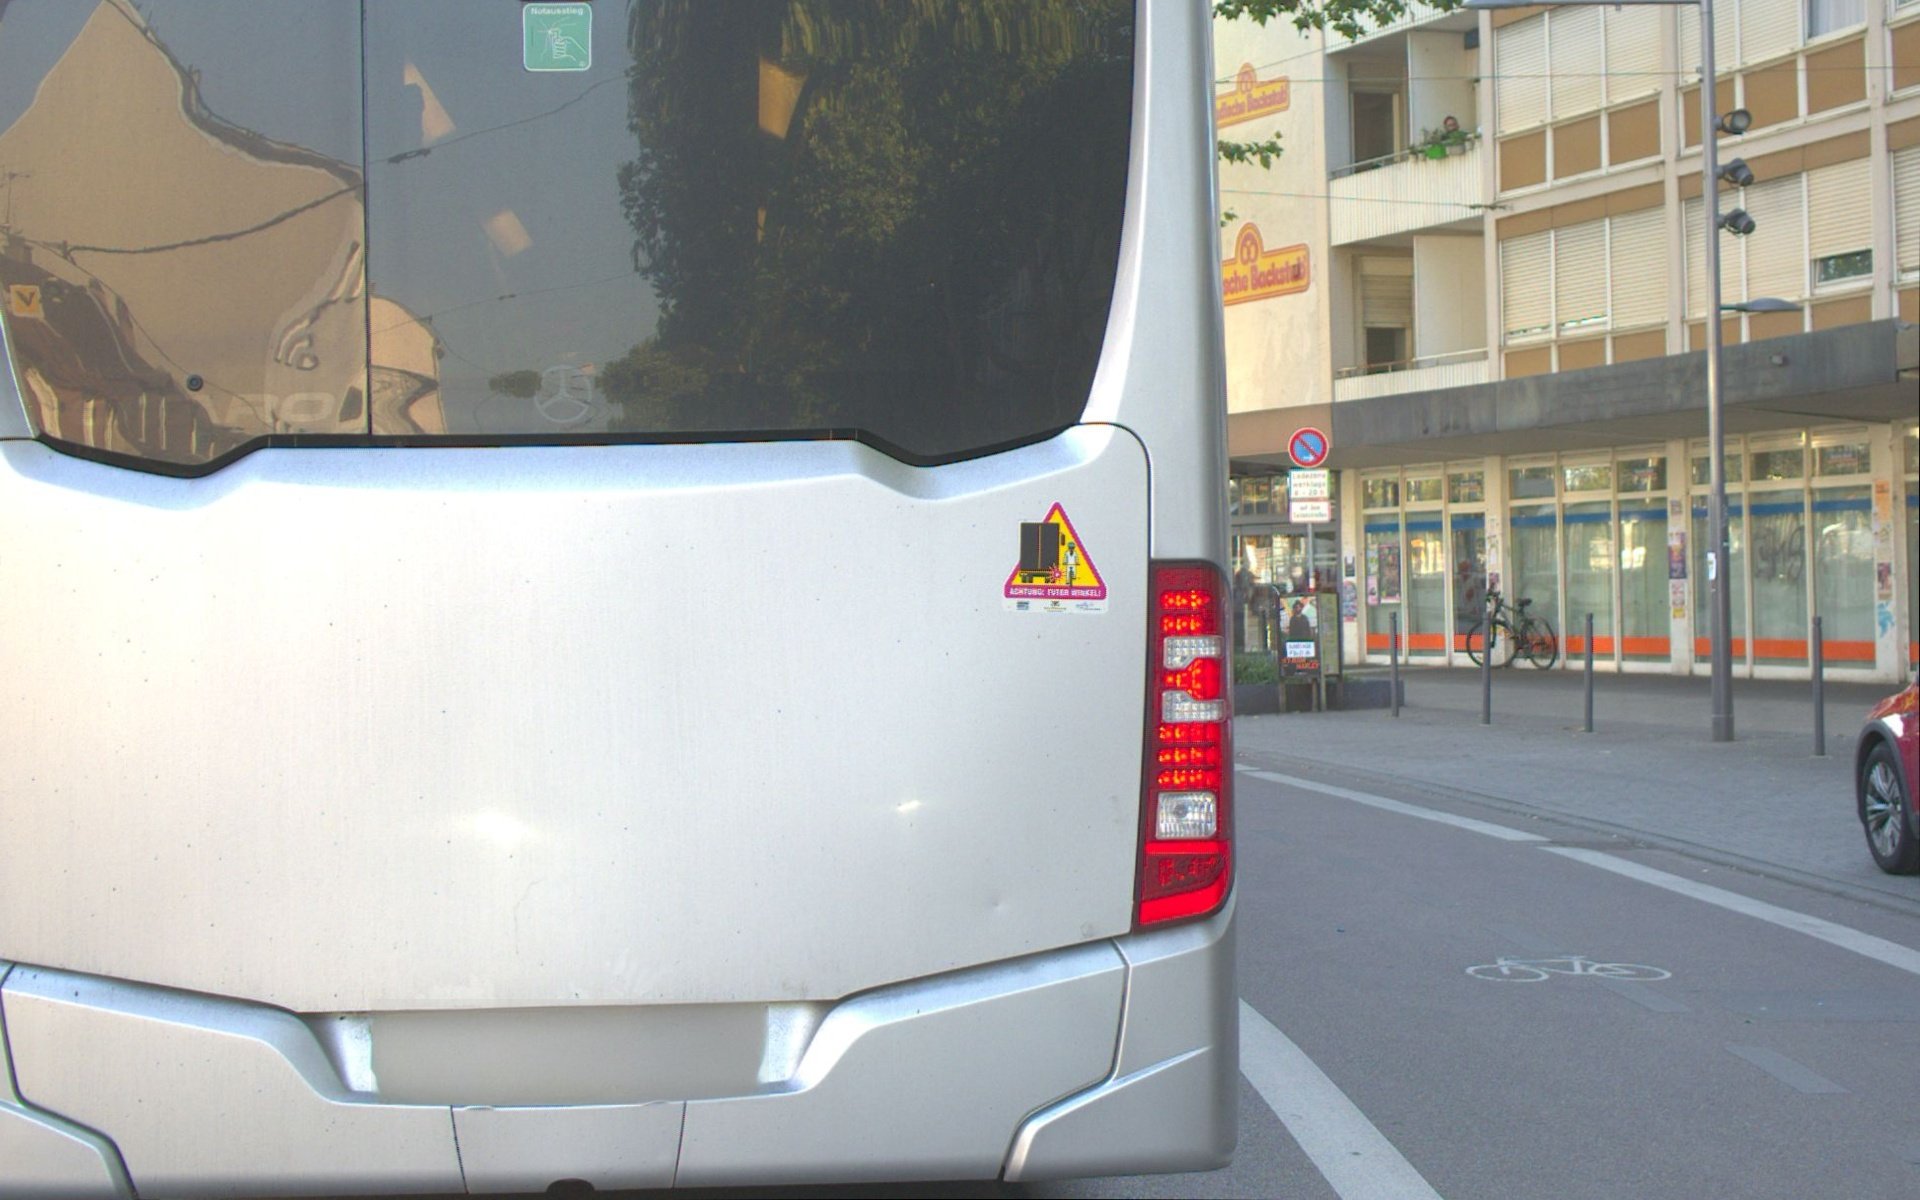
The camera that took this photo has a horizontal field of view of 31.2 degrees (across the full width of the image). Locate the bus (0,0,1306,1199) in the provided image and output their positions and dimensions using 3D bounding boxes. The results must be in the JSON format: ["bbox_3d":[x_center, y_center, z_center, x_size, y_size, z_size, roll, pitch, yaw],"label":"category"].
[{"bbox_3d":[-0.943,-0.106,11.144,2.657,3.088,10.217,-1,0,-2],"label":"bus"}]

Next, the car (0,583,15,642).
[{"bbox_3d":[-25.621,0.364,87.650,1.663,1.463,3.411,-5,3,-38],"label":"car"}]

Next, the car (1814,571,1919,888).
[{"bbox_3d":[5.516,0.594,15.569,1.778,1.491,4.568,-3,1,-4],"label":"car"}]

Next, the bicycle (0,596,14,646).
[{"bbox_3d":[-23.651,0.505,84.550,0.507,1.207,2.093,-1,1,-21],"label":"bicycle"}]

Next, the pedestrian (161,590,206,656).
[{"bbox_3d":[-15.608,0.465,69.106,0.777,1.299,0.594,-1,0,-21],"label":"pedestrian"}]

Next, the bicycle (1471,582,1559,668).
[{"bbox_3d":[7.262,0.317,45.037,0.437,1.089,1.462,-4,1,-20],"label":"bicycle"}]

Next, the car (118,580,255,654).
[{"bbox_3d":[-17.397,0.367,77.268,1.663,1.511,3.412,-5,3,-37],"label":"car"}]

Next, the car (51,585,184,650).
[{"bbox_3d":[-19.755,0.399,80.587,1.663,1.390,3.411,-5,3,-39],"label":"car"}]
